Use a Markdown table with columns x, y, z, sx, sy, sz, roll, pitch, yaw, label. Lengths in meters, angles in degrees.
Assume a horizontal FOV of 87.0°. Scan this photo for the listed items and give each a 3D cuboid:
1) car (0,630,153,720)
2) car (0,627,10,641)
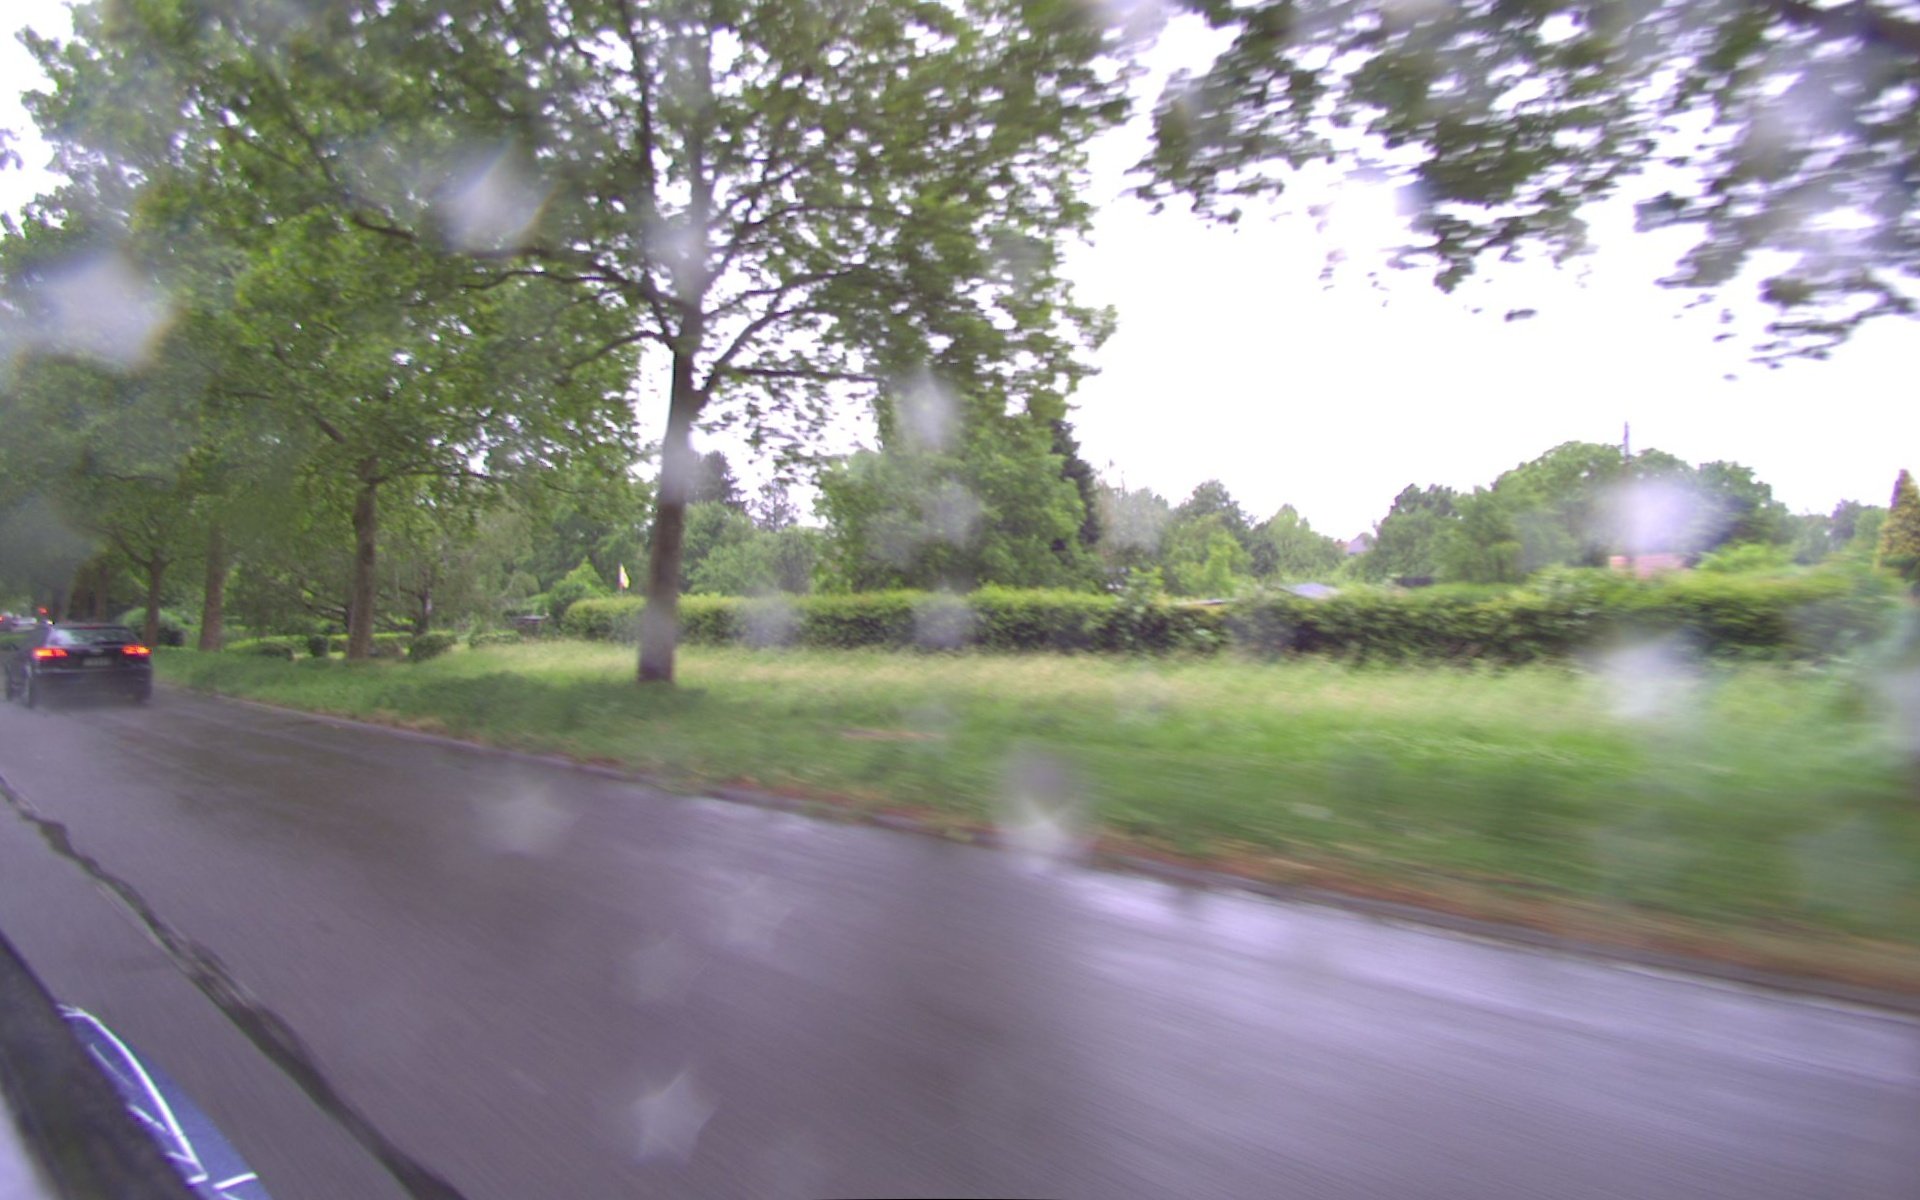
| x | y | z | sx | sy | sz | roll | pitch | yaw | label |
| --- | --- | --- | --- | --- | --- | --- | --- | --- | --- |
| -16.299 | 1.284 | 18.430 | 4.222 | 1.434 | 1.714 | -2 | -2 | 40 | car |
| -123.440 | 4.383 | 129.945 | 5.017 | 1.763 | 1.842 | -2 | -2 | 44 | car |
